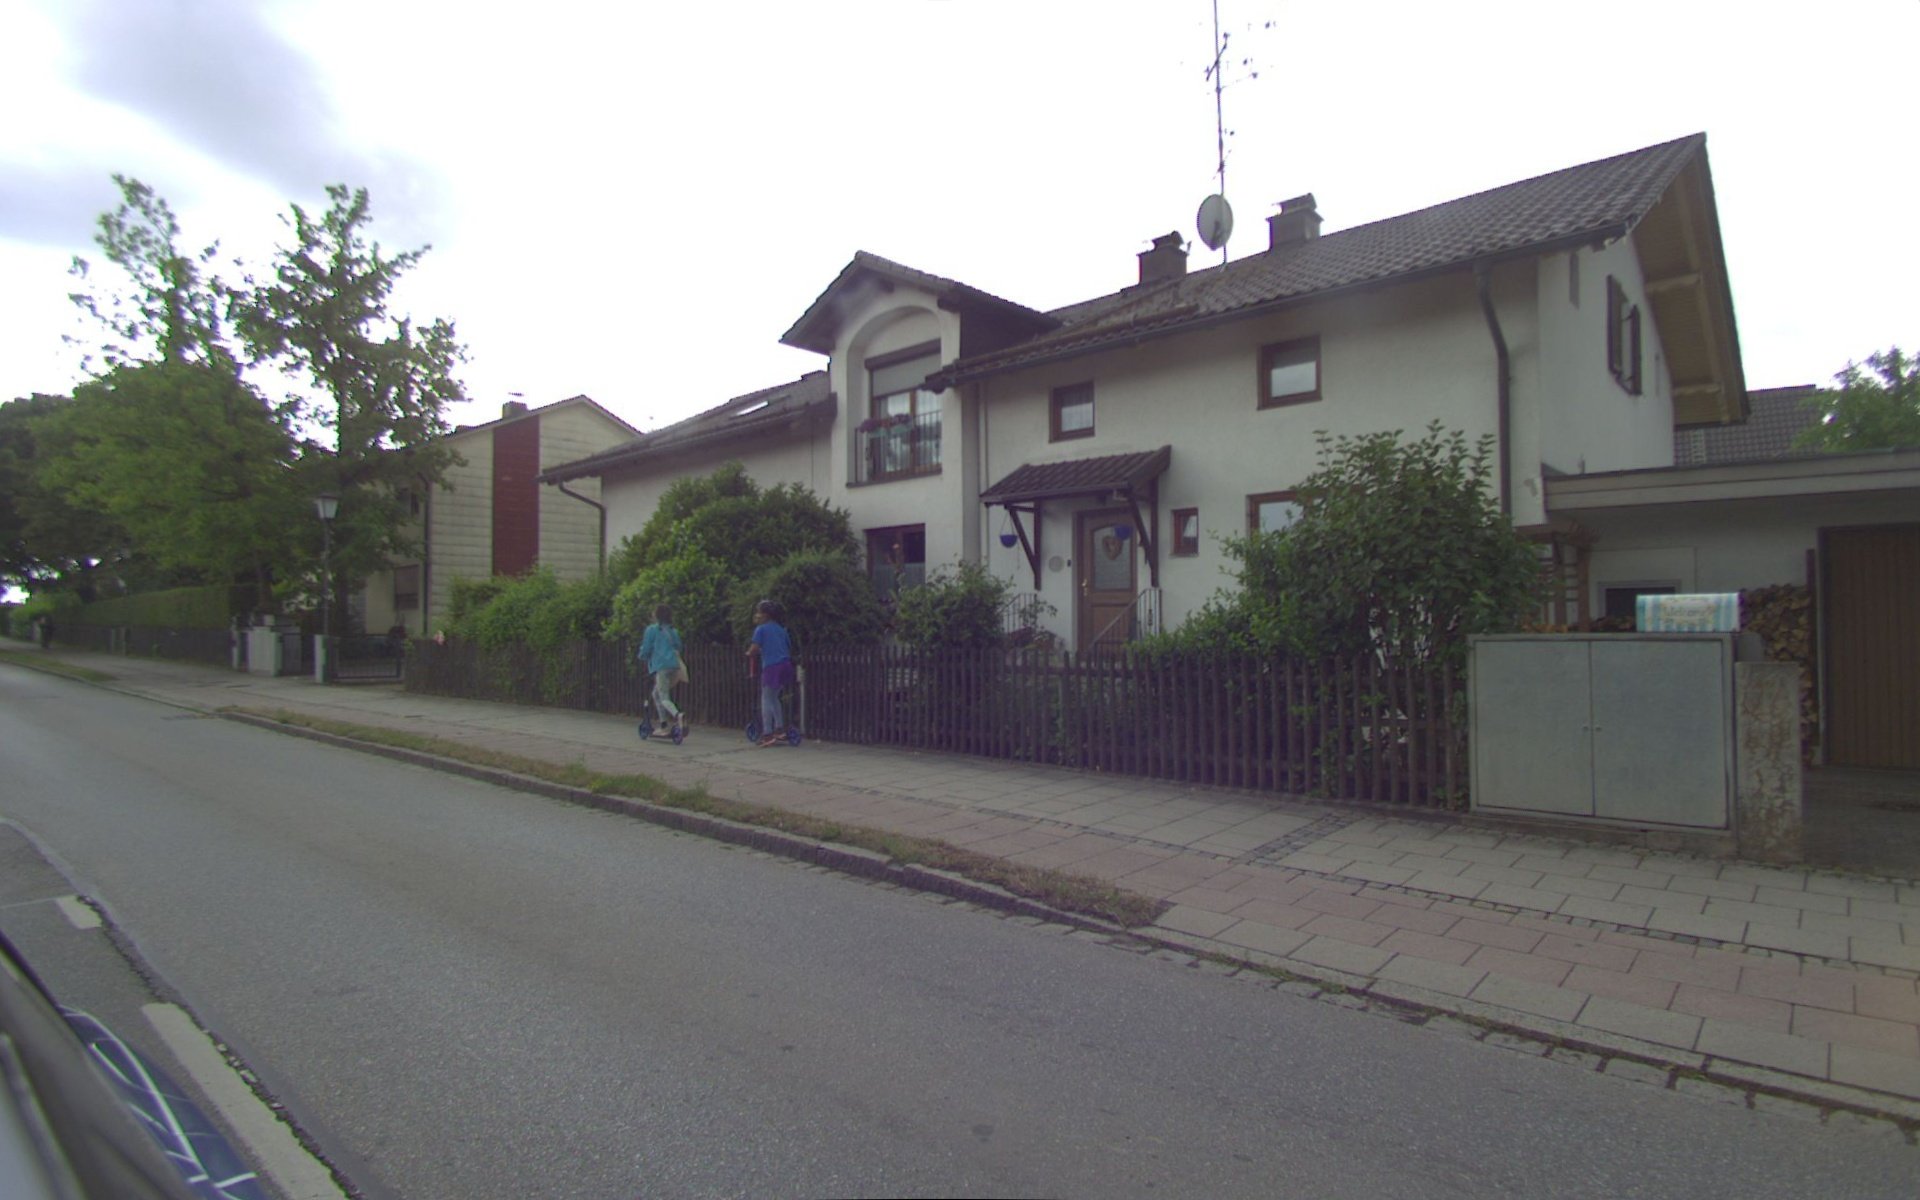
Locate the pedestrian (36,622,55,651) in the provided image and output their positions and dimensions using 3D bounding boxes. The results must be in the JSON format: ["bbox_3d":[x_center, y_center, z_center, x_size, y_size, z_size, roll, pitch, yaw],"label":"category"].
[{"bbox_3d":[-45.242,1.808,50.072,0.563,1.448,0.623,-1,-2,41],"label":"pedestrian"}]

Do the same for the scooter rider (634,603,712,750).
[{"bbox_3d":[-3.051,0.789,10.747,0.716,1.501,0.497,-2,-1,42],"label":"scooter rider"}]

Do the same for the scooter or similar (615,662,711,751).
[{"bbox_3d":[-3.202,1.121,10.875,1.061,0.856,0.516,-1,-1,42],"label":"scooter or similar"}]

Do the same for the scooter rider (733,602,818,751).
[{"bbox_3d":[-1.924,0.774,10.563,0.580,1.484,0.655,-2,-2,42],"label":"scooter rider"}]

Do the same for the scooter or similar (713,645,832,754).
[{"bbox_3d":[-1.976,1.005,10.604,1.178,1.045,0.654,-2,-2,43],"label":"scooter or similar"}]
